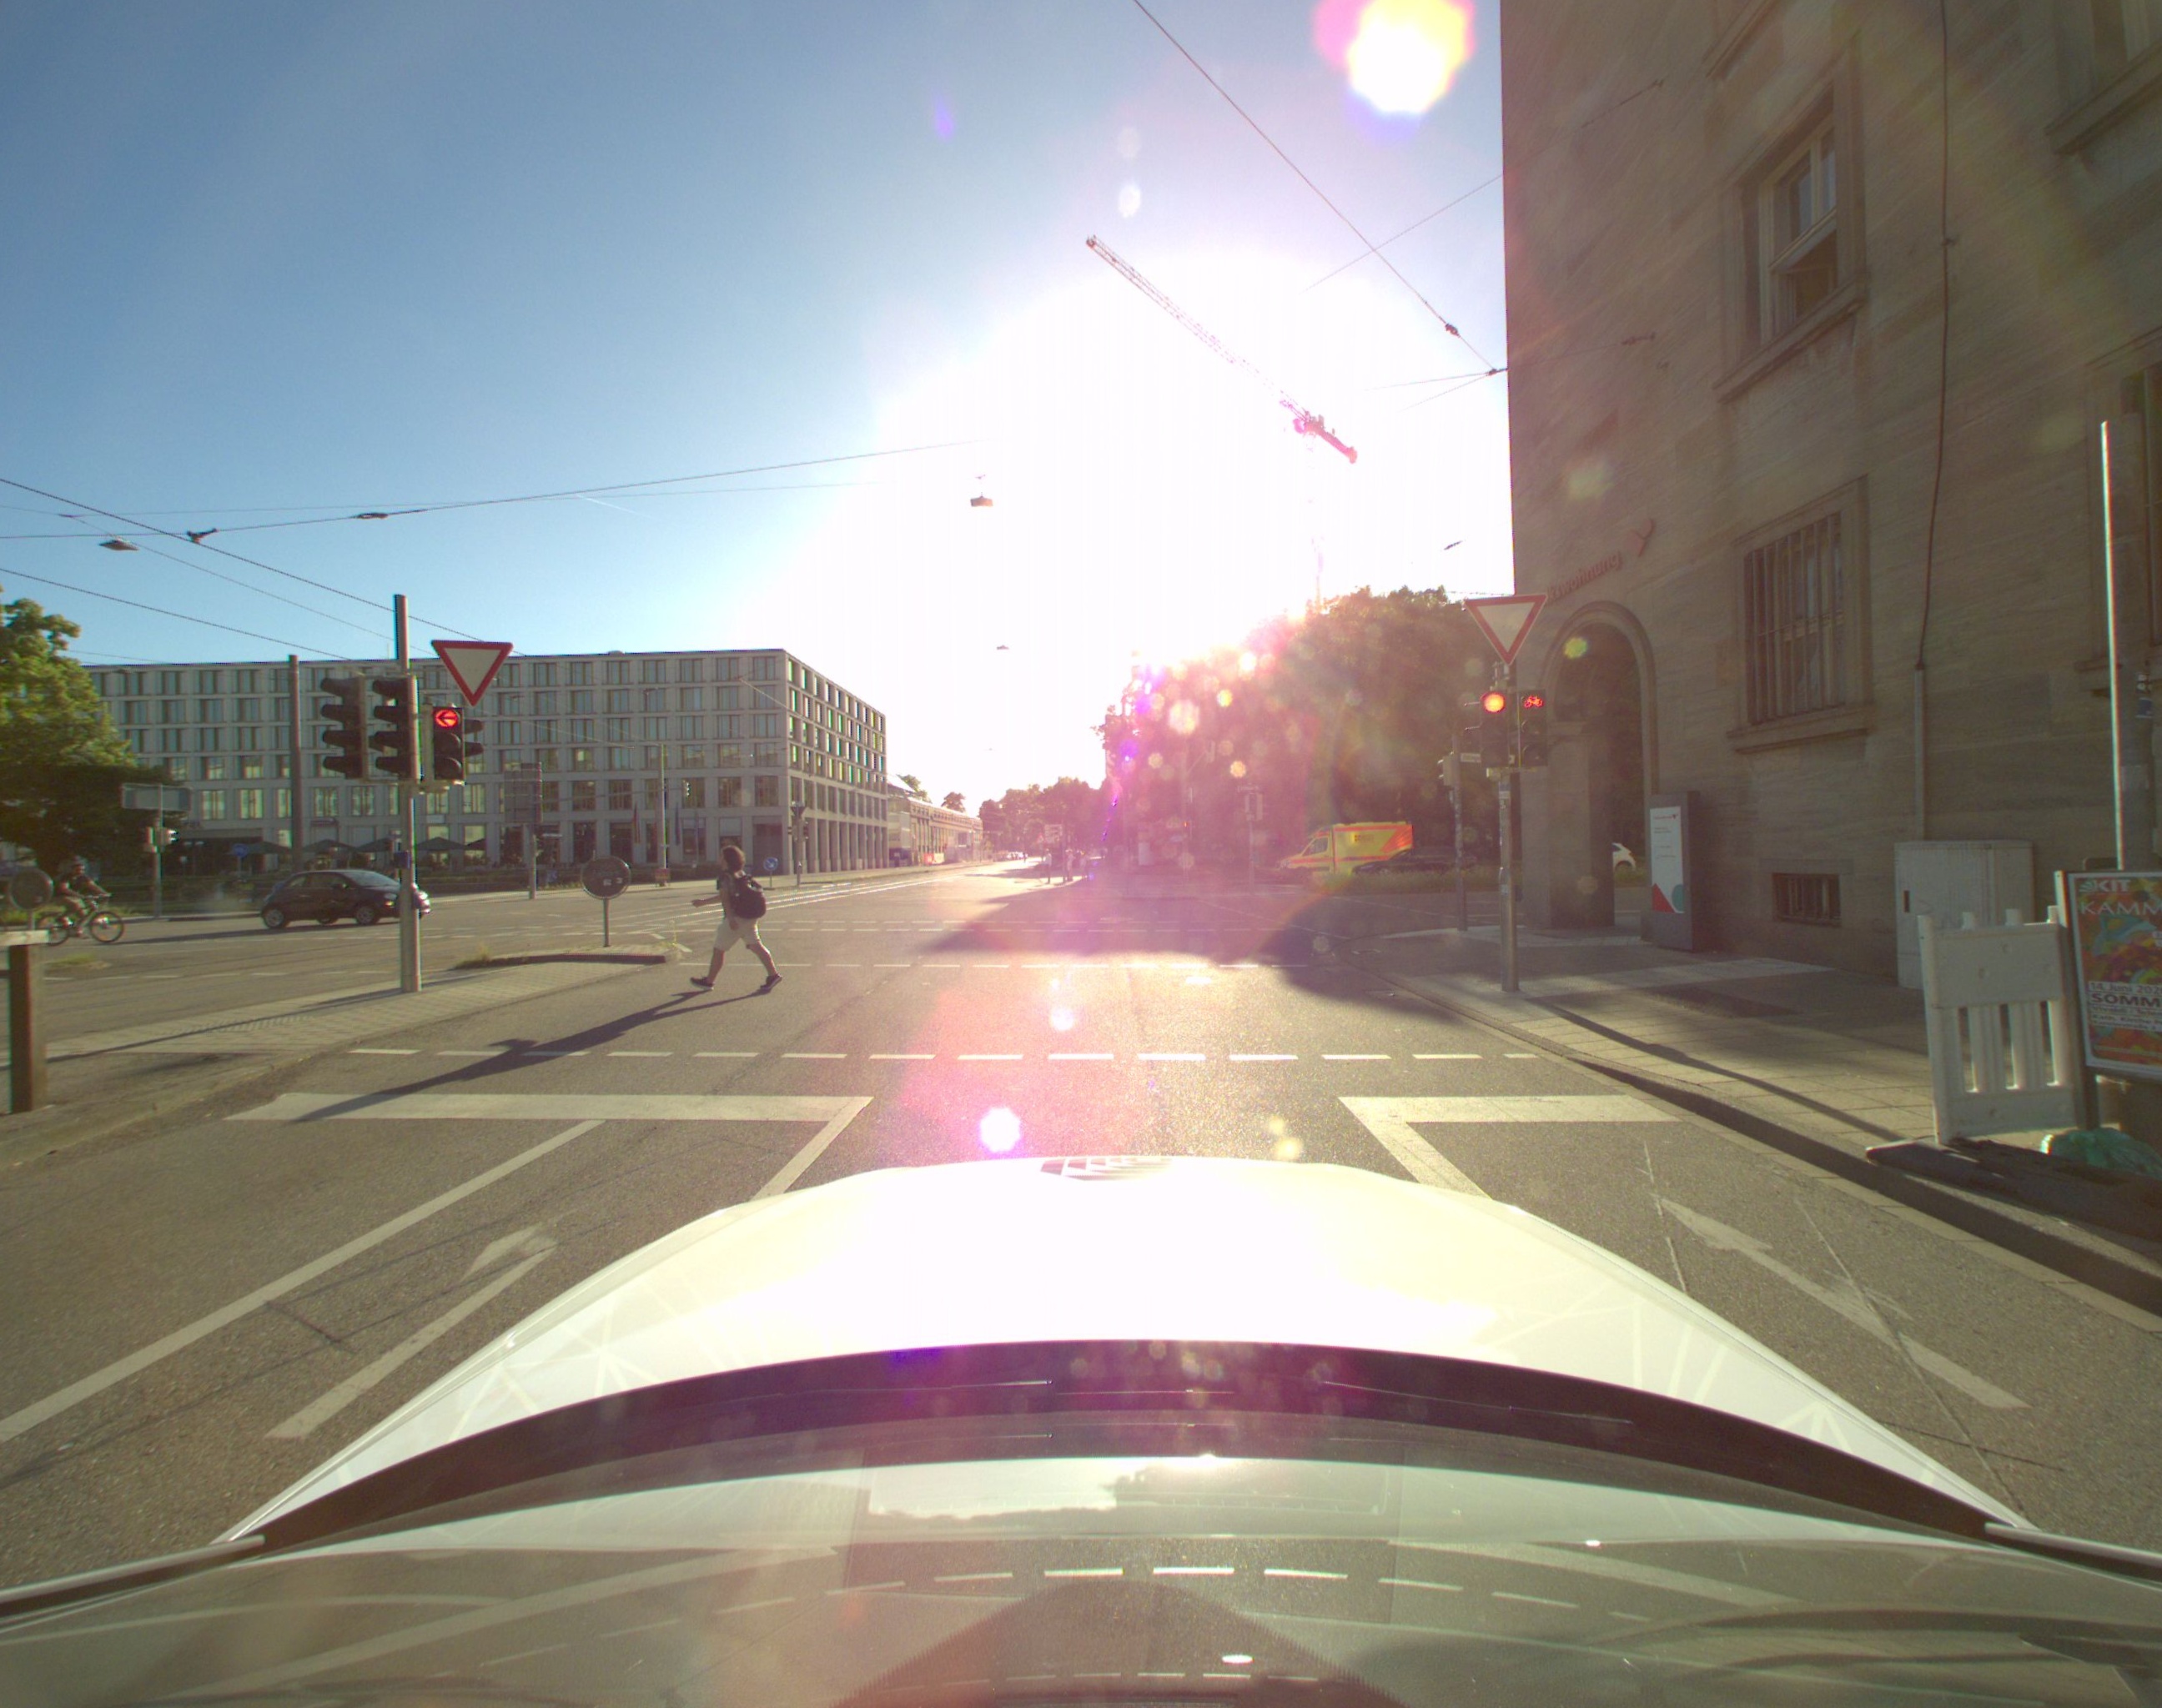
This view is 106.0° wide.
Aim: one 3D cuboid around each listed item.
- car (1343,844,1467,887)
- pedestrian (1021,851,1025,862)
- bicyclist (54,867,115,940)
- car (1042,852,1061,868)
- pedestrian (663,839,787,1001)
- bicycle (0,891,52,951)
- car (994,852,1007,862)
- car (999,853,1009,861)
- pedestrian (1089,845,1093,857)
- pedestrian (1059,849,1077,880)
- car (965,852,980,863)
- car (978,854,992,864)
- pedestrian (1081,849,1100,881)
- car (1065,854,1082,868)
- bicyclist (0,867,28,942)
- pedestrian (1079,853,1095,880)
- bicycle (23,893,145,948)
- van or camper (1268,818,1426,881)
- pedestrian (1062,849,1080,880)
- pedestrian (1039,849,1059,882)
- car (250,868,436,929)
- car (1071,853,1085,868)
[{"bbox_3d":[12.963,0.455,32.772,4.297,1.647,1.889,0,-1,2],"label":"car"},{"bbox_3d":[-7.898,0.389,110.475,0.522,1.484,0.437,0,-1,0],"label":"pedestrian"},{"bbox_3d":[-22.324,1.090,18.248,0.615,1.582,0.595,-2,0,7],"label":"bicyclist"},{"bbox_3d":[-2.933,0.607,82.098,1.678,1.501,3.510,0,-1,2],"label":"car"},{"bbox_3d":[-4.053,0.715,9.365,1.039,1.721,1.032,-2,0,-10],"label":"pedestrian"},{"bbox_3d":[-24.910,1.530,18.528,2.037,1.288,0.888,-2,0,7],"label":"bicycle"},{"bbox_3d":[-15.469,0.570,156.536,1.812,1.712,3.807,-2,0,2],"label":"car"},{"bbox_3d":[-15.156,0.525,160.615,1.603,1.498,3.807,-2,0,2],"label":"car"},{"bbox_3d":[3.011,-0.841,246.339,1.396,3.597,1.568,0,-1,1],"label":"pedestrian"},{"bbox_3d":[-0.735,0.591,47.527,0.849,1.784,0.776,-2,0,-15],"label":"pedestrian"},{"bbox_3d":[-17.821,0.560,134.107,1.812,1.712,3.807,-2,0,2],"label":"car"},{"bbox_3d":[-17.064,0.954,144.869,1.812,1.712,3.807,-2,0,2],"label":"car"},{"bbox_3d":[0.539,0.609,46.096,0.849,1.784,0.776,-2,0,-15],"label":"pedestrian"},{"bbox_3d":[-0.841,0.796,92.210,1.678,1.501,3.510,0,-1,2],"label":"car"},{"bbox_3d":[-24.947,1.163,18.528,0.885,1.695,0.846,-2,0,7],"label":"bicyclist"},{"bbox_3d":[0.337,0.708,46.782,0.763,1.558,0.585,-2,0,-15],"label":"pedestrian"},{"bbox_3d":[-22.306,1.472,18.232,1.913,1.122,0.792,-2,0,7],"label":"bicycle"},{"bbox_3d":[12.426,-0.181,38.534,6.674,2.862,2.915,0,-1,6],"label":"van or camper"},{"bbox_3d":[-0.570,0.600,46.711,0.849,1.784,0.776,-2,0,-15],"label":"pedestrian"},{"bbox_3d":[-1.774,0.609,45.133,0.967,1.784,0.776,-2,0,-15],"label":"pedestrian"},{"bbox_3d":[-19.649,1.154,21.769,3.519,1.506,1.522,-1,0,-1],"label":"car"},{"bbox_3d":[-0.378,0.817,107.823,1.678,1.962,3.510,0,-1,2],"label":"car"}]
